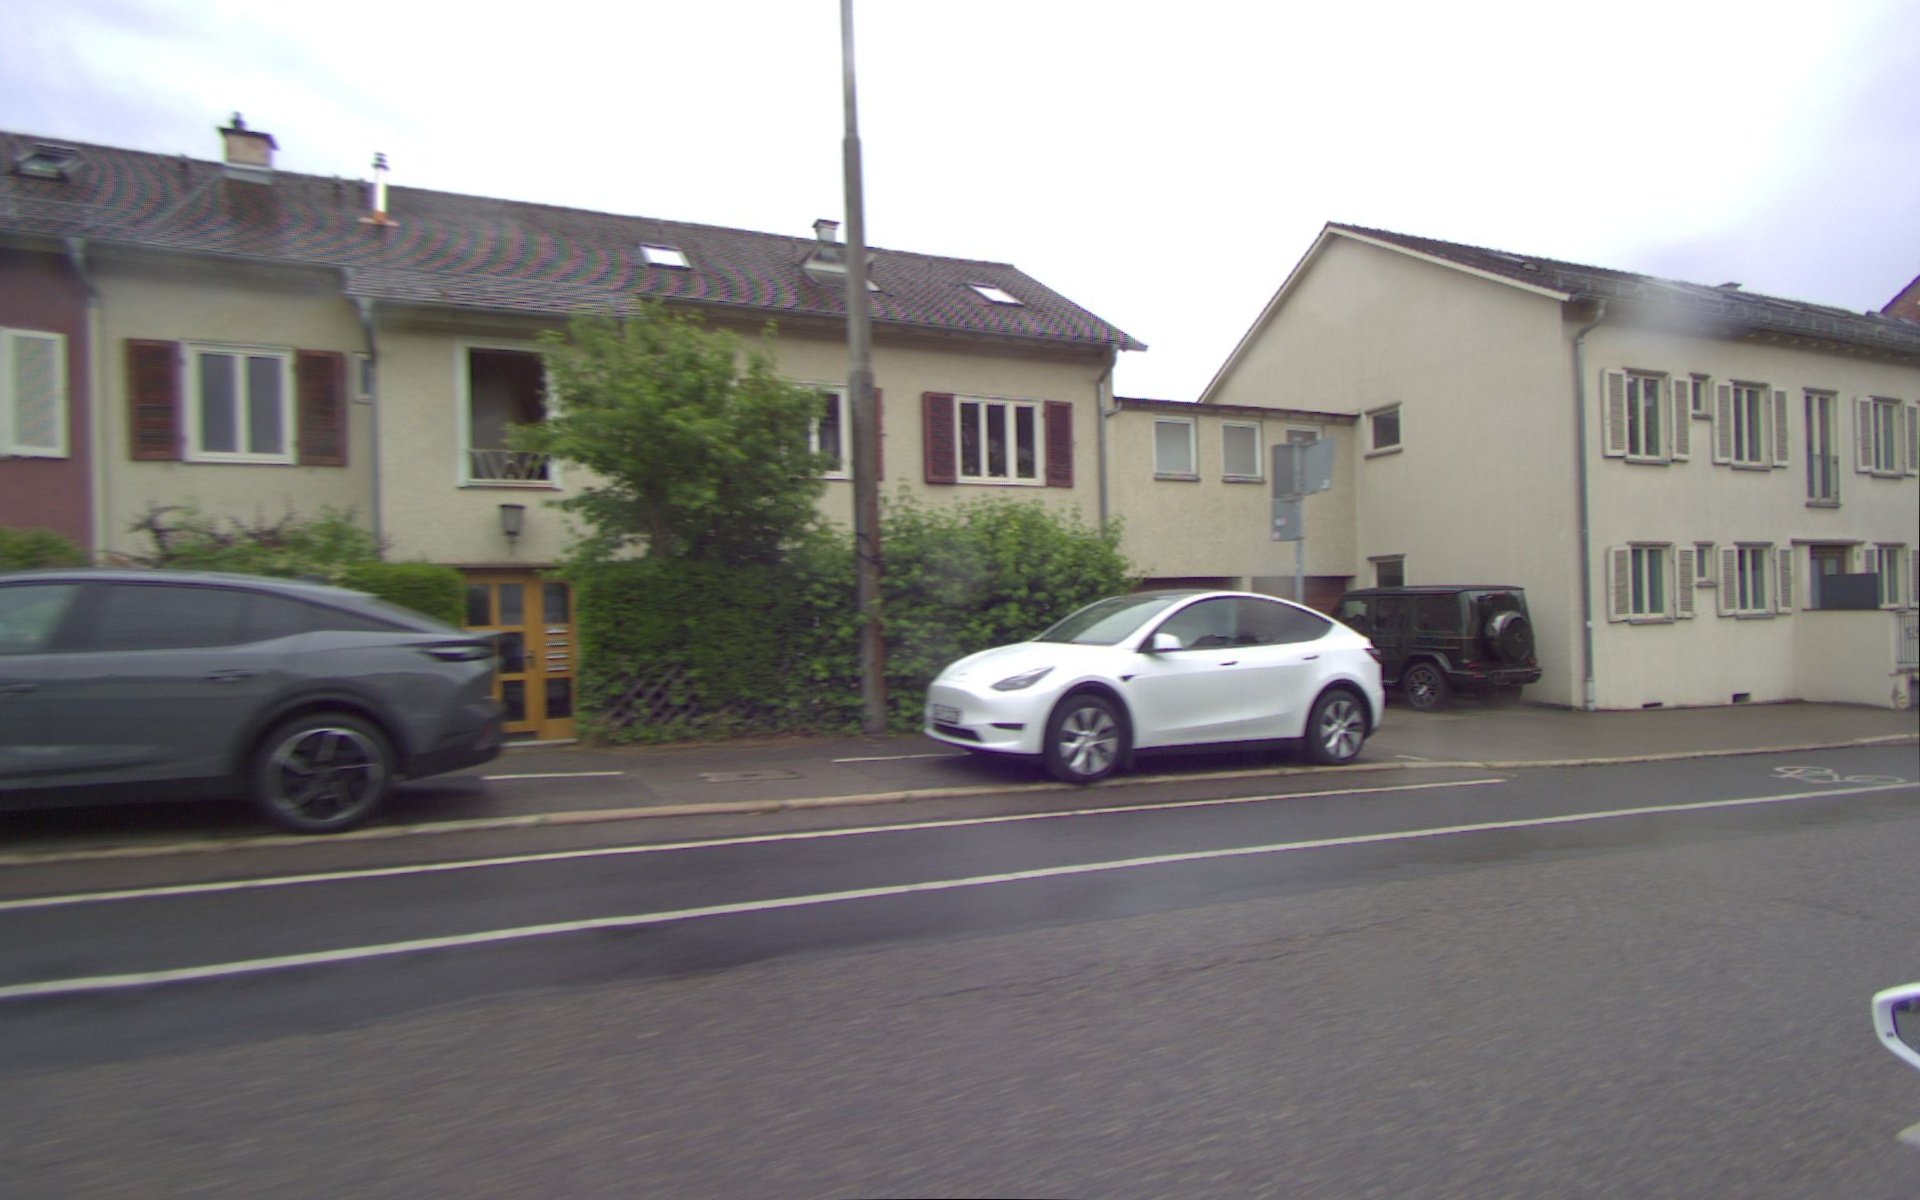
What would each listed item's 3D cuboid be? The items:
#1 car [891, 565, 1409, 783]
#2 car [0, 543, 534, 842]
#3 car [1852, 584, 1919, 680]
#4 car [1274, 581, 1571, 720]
[{"bbox_3d":[1.857,0.639,9.541,4.618,1.652,1.922,2,-1,-27],"label":"car"},{"bbox_3d":[-5.028,0.466,5.944,4.466,1.496,1.801,2,0,-28],"label":"car"},{"bbox_3d":[27.498,0.908,25.766,2.137,2.587,6.641,3,-1,-22],"label":"car"},{"bbox_3d":[7.647,0.768,17.121,1.863,2.040,4.474,0,-1,-26],"label":"car"}]
